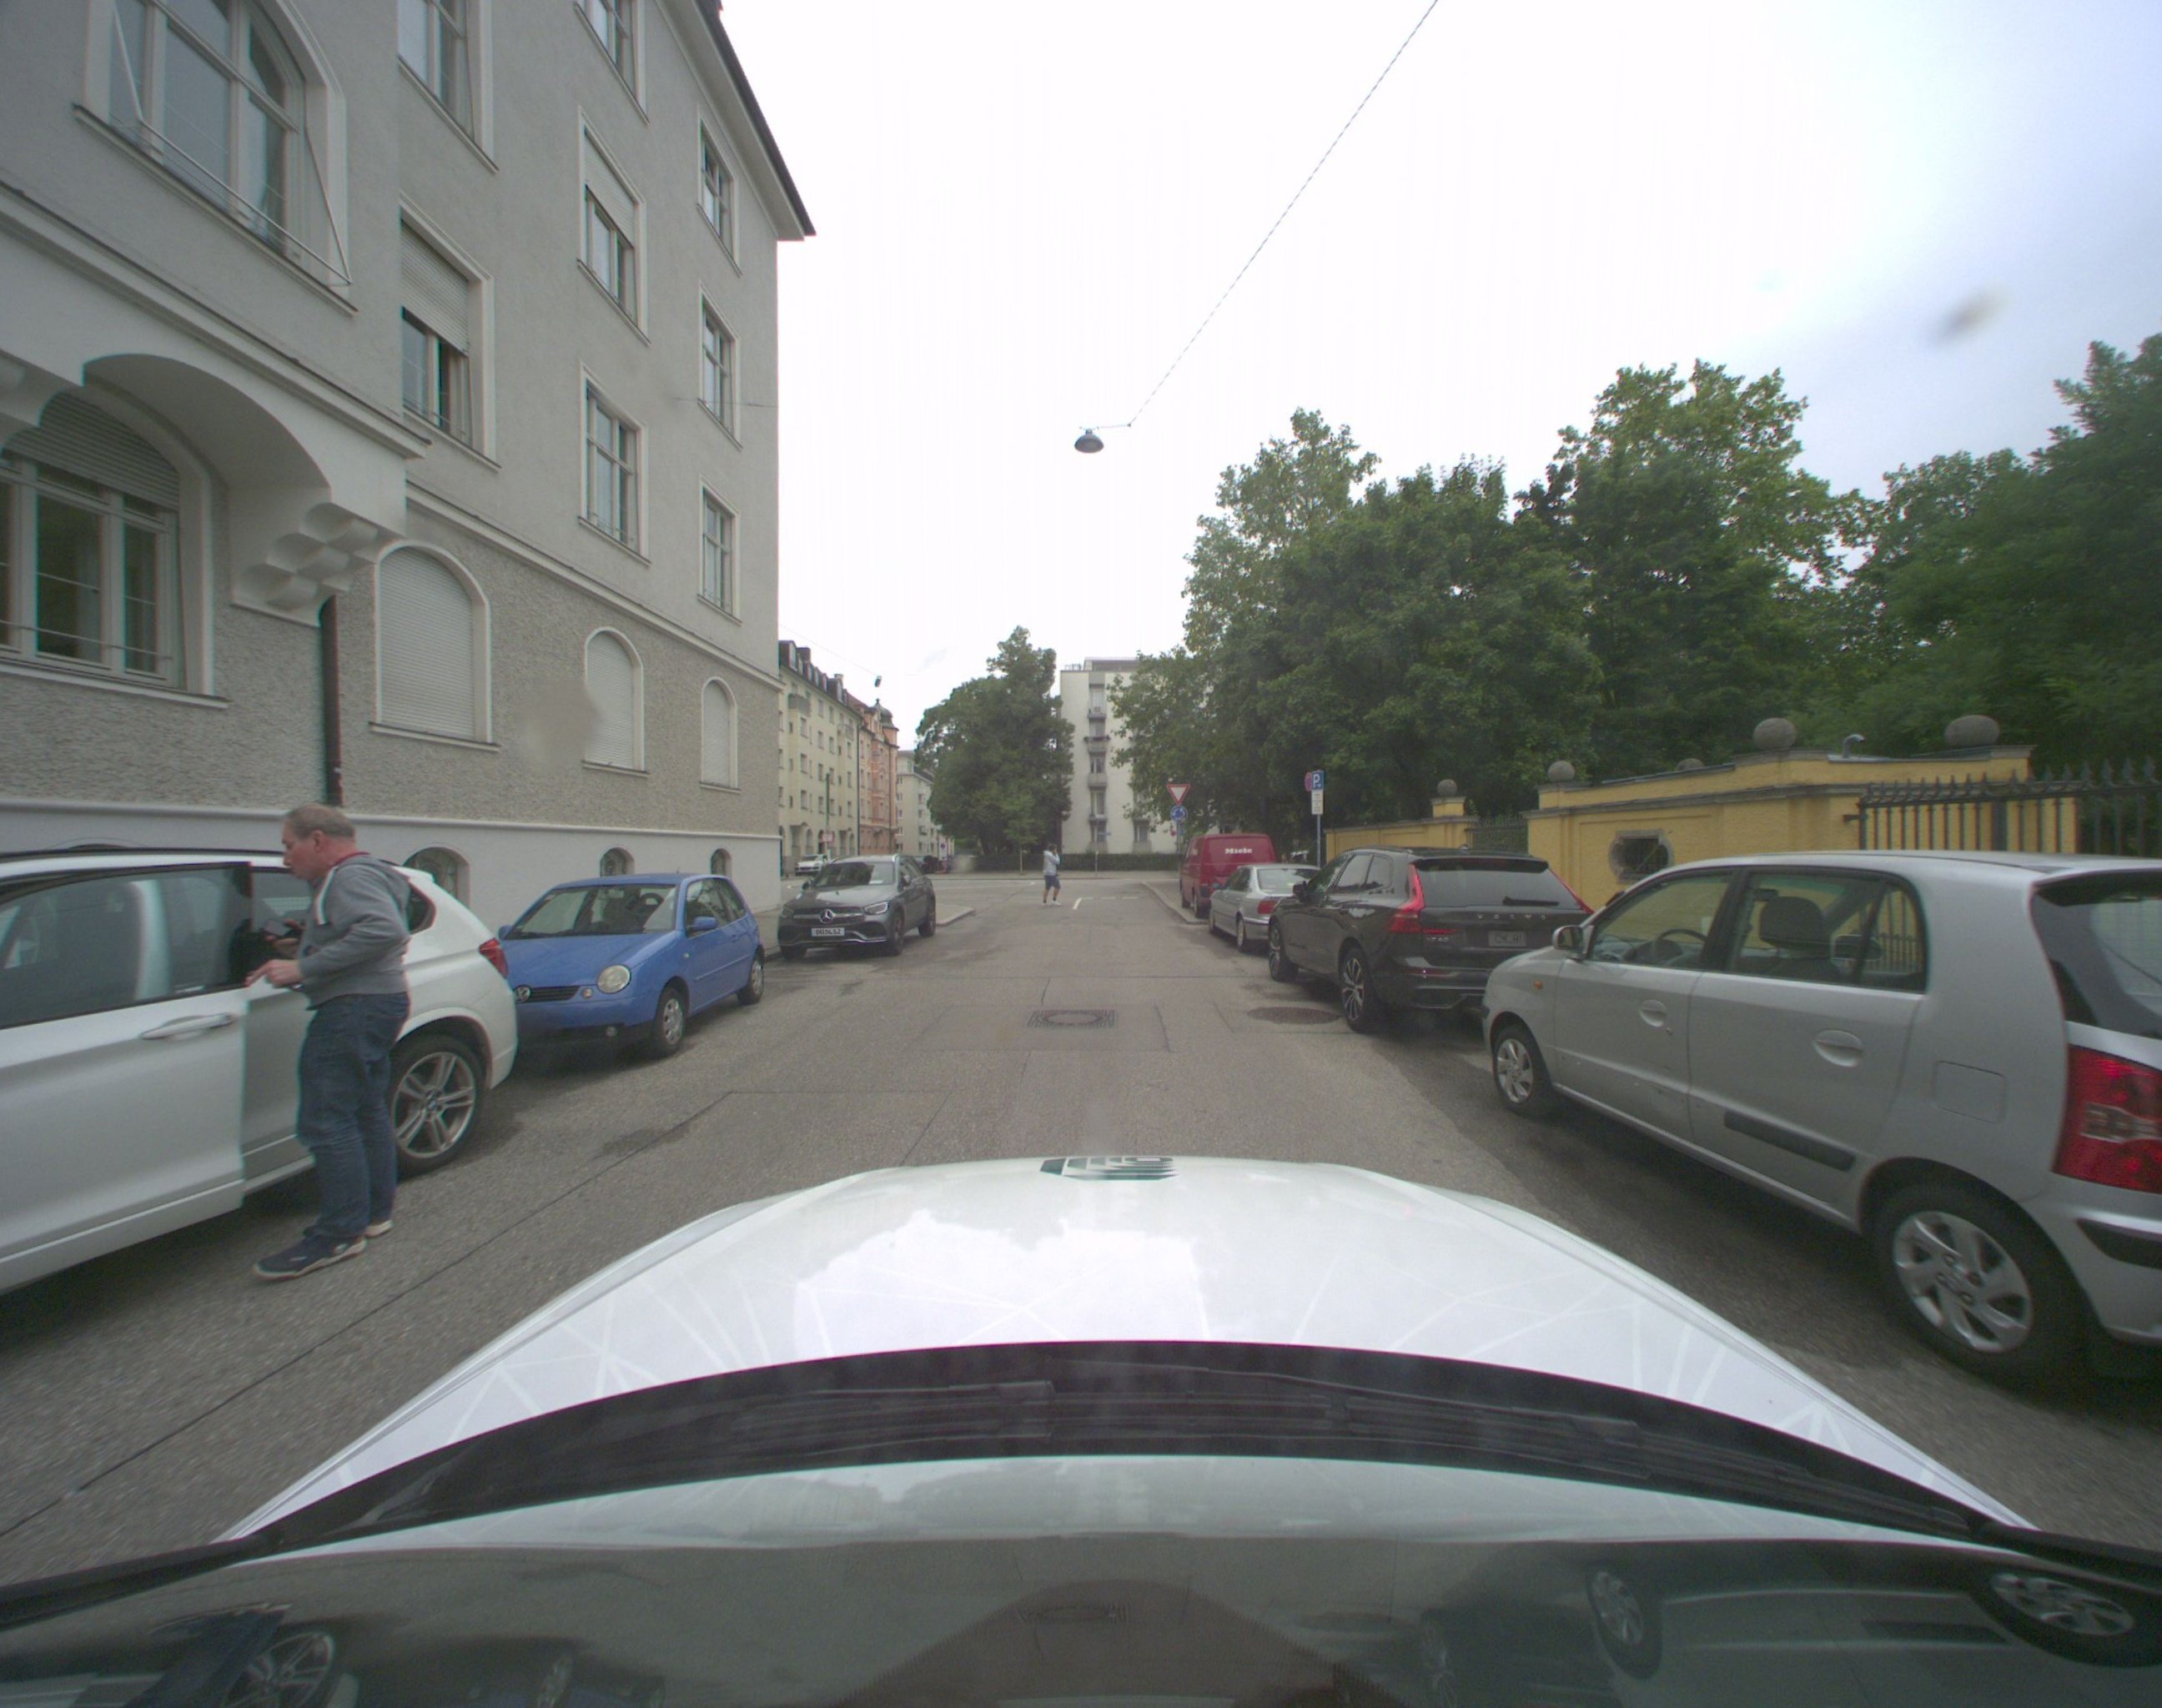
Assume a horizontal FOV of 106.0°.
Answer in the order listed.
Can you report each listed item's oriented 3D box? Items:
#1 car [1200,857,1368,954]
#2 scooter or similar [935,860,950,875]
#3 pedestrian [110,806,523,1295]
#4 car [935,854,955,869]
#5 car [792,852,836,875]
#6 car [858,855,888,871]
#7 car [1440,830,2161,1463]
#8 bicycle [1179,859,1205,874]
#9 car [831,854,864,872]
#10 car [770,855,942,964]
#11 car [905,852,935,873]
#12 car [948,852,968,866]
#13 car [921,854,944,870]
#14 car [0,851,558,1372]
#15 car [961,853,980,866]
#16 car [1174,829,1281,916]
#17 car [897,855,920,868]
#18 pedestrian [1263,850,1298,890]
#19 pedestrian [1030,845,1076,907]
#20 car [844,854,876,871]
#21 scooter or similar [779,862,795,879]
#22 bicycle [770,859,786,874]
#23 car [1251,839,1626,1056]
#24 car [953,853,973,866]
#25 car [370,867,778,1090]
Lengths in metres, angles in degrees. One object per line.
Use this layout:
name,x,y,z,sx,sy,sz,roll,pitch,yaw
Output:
car,3.483,0.807,14.834,1.879,1.448,4.366,1,0,-1
scooter or similar,-10.232,0.999,60.025,1.005,1.088,0.387,0,0,-30
pedestrian,-3.120,0.702,3.470,0.962,1.756,0.873,0,0,-13
car,-14.884,0.803,89.261,1.832,1.505,4.108,-2,0,-5
car,-20.420,0.670,62.457,1.971,1.700,4.836,0,0,-3
car,-21.209,0.856,83.088,1.969,1.581,4.407,0,0,-1
car,3.285,0.721,3.853,1.480,1.539,3.691,1,0,-1
bicycle,7.899,0.870,57.980,1.826,1.049,0.489,-1,0,-13
car,-20.897,0.780,73.047,1.972,1.616,4.704,0,0,-5
car,-3.801,0.845,14.618,1.741,1.602,4.497,-2,0,1
car,-12.347,0.657,62.672,1.817,1.505,4.411,-2,0,-7
car,-15.035,0.646,99.536,1.829,1.634,3.820,-2,0,1
car,-14.227,0.739,78.176,1.792,1.505,4.105,-2,0,-7
car,-4.210,0.819,2.873,1.741,1.602,4.497,-2,0,1
car,-14.720,0.712,108.664,1.829,1.634,3.820,-2,0,1
car,3.535,0.409,20.570,1.867,1.920,4.888,1,0,1
car,-21.493,0.953,101.590,1.969,1.581,4.407,0,0,0
pedestrian,6.753,0.527,27.566,1.005,1.338,0.878,-1,0,4
pedestrian,-0.820,0.622,23.679,1.055,1.771,0.868,0,0,-30
car,-21.098,0.825,77.924,1.969,1.581,4.406,0,0,-1
scooter or similar,-20.676,1.156,57.277,1.200,1.193,0.470,0,0,37
bicycle,-22.353,0.927,60.048,0.561,1.049,1.829,-1,0,-3
car,3.287,0.721,8.737,1.878,1.653,4.823,1,0,0
car,-15.003,0.679,103.581,1.829,1.634,3.820,-2,0,1
car,-4.180,0.882,7.481,1.690,1.414,3.655,-2,0,-6
